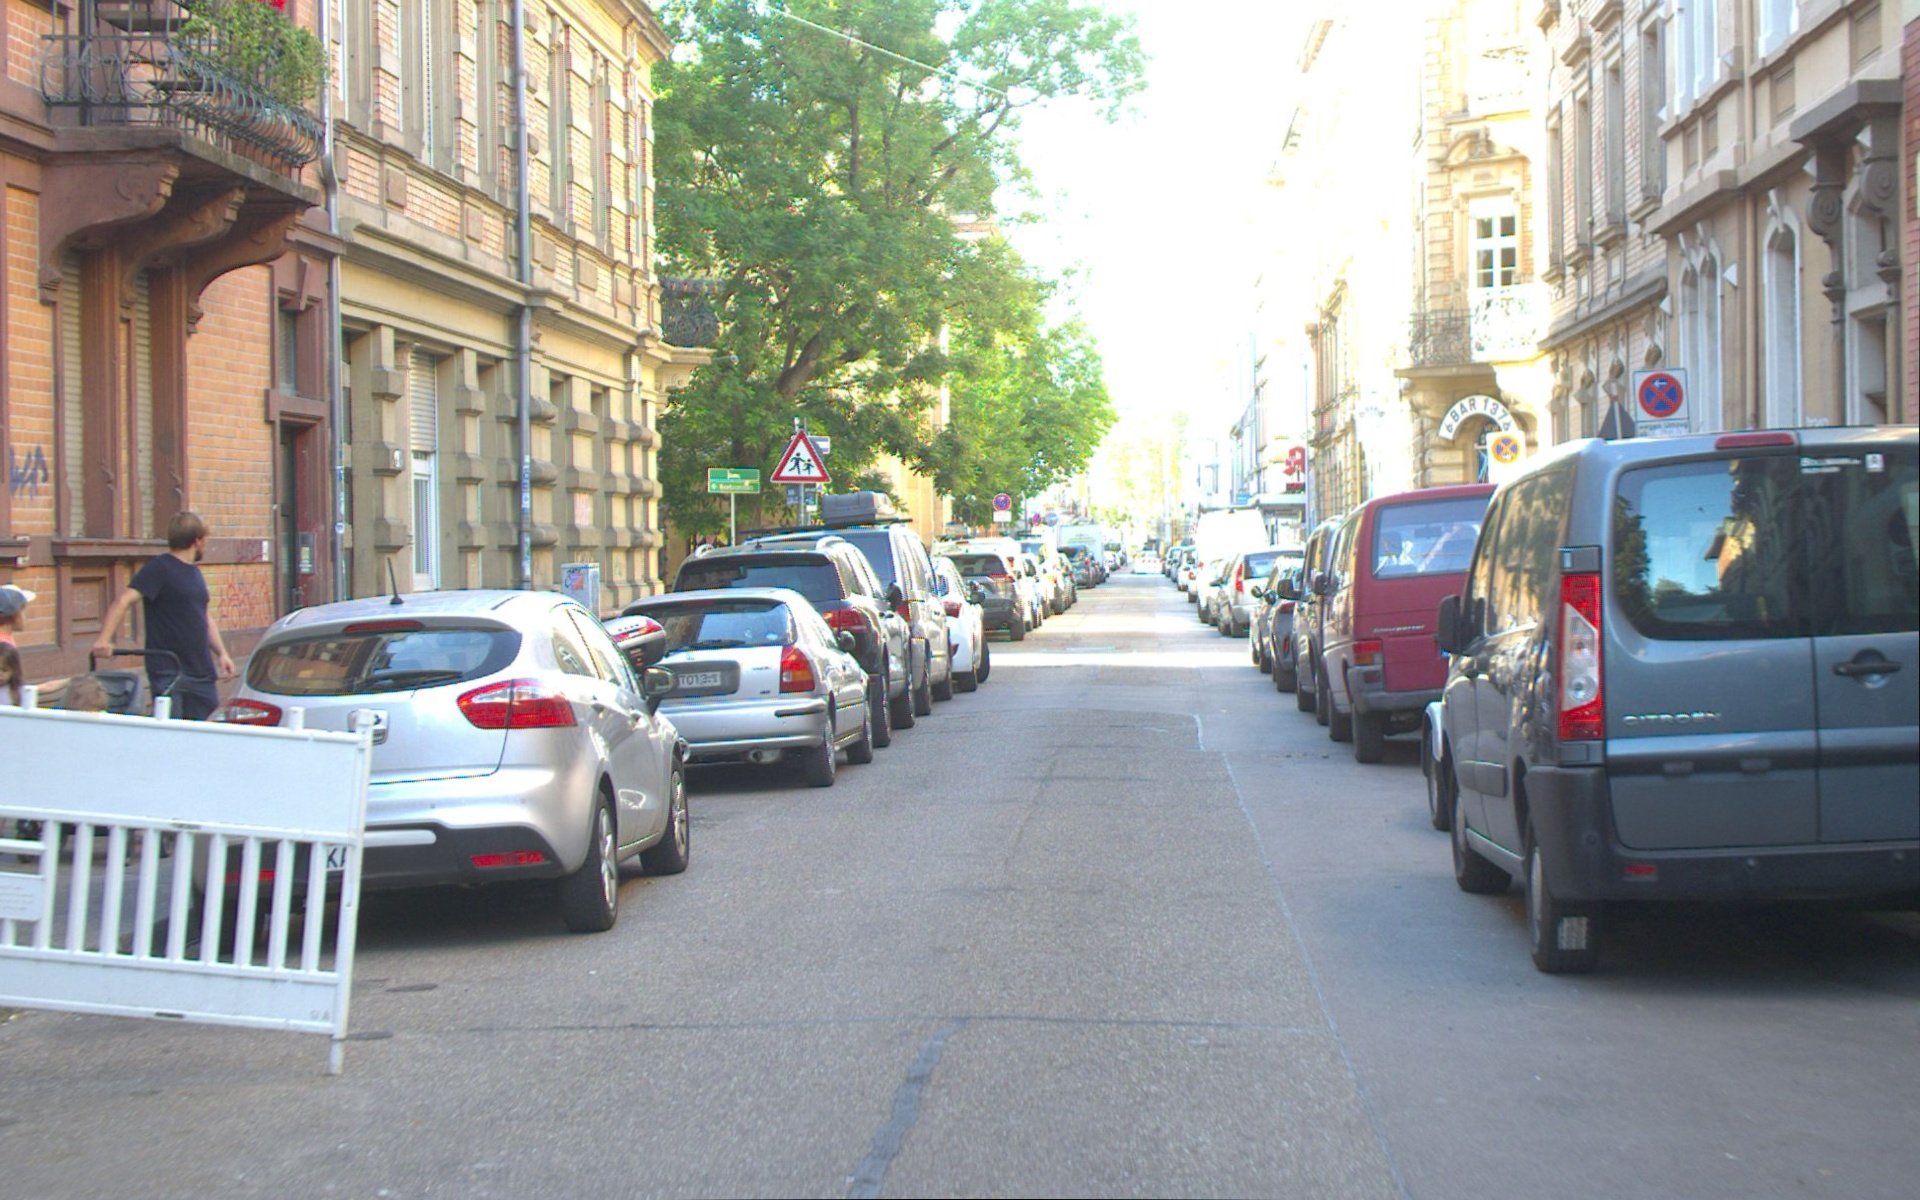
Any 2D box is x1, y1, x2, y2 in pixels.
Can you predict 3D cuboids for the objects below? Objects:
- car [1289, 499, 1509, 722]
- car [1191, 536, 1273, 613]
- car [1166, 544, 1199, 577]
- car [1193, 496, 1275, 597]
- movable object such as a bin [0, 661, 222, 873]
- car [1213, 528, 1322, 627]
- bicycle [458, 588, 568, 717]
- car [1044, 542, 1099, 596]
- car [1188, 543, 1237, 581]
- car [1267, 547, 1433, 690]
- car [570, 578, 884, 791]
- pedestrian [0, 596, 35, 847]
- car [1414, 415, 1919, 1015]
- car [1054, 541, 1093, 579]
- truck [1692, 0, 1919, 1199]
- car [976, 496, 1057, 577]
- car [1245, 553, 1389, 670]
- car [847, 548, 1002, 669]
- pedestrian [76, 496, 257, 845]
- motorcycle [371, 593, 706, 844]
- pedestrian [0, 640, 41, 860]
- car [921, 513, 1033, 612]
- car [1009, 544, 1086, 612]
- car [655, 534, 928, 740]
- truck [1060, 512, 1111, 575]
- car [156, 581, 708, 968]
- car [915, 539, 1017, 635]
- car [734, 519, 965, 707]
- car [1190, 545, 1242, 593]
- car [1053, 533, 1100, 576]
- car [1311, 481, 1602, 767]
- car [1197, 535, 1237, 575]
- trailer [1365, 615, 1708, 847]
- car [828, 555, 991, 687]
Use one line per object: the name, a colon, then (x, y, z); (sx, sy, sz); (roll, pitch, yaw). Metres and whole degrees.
car: (4.054, 0.053, 32.296); (1.770, 1.954, 4.264); (0, 1, 4)
car: (6.166, -0.579, 78.254); (1.808, 1.684, 4.214); (1, 1, 4)
car: (13.854, -2.460, 213.782); (1.994, 2.007, 4.000); (-1, 1, 4)
car: (7.387, -1.463, 93.091); (2.068, 2.602, 5.887); (-1, 1, 3)
movable object such as a bin: (-4.150, 0.795, 16.797); (0.761, 0.929, 1.415); (-1, 1, 0)
car: (5.664, -0.444, 63.763); (1.703, 1.708, 3.938); (-2, 1, 1)
bicycle: (-4.184, 0.479, 32.299); (0.667, 1.121, 1.785); (1, 1, 4)
car: (3.609, -1.001, 110.597); (1.600, 1.608, 3.808); (-4, 1, 3)
car: (10.118, -1.532, 137.781); (1.898, 1.483, 3.869); (-1, 1, 4)
car: (4.409, 0.169, 39.320); (1.667, 1.474, 3.887); (-1, 1, 4)
car: (-1.572, 0.537, 24.467); (1.699, 1.309, 4.000); (2, 1, 3)
pedestrian: (-5.147, 0.637, 18.168); (0.393, 1.302, 0.432); (-1, 1, -2)
car: (2.936, 0.344, 13.714); (1.845, 1.977, 4.576); (1, 1, 3)
car: (5.649, -2.007, 171.514); (1.875, 1.790, 4.000); (-1, 1, 1)
truck: (2.560, 0.154, 3.485); (2.148, 2.648, 6.253); (-5, 1, 1)
car: (1.507, -1.641, 89.501); (1.864, 1.950, 4.610); (-3, 1, 3)
car: (4.675, 0.110, 45.491); (1.706, 1.454, 4.511); (0, 1, 4)
car: (-0.413, 0.075, 44.467); (1.723, 1.476, 4.089); (0, 1, 4)
pedestrian: (-4.131, 0.353, 17.948); (0.685, 1.759, 0.887); (-1, 1, 0)
motorcycle: (-2.520, 0.698, 20.321); (0.842, 1.355, 2.196); (-4, 1, -39)
pedestrian: (-4.878, 0.750, 17.298); (0.393, 1.083, 0.432); (-1, 1, -2)
car: (0.372, -0.768, 67.931); (1.846, 1.856, 4.464); (-1, 1, 4)
car: (2.163, -0.559, 84.000); (1.742, 1.581, 3.868); (-1, 1, 3)
car: (-1.351, 0.257, 29.421); (1.788, 1.619, 4.607); (0, 1, 4)
truck: (6.918, -3.094, 188.096); (2.532, 3.270, 6.994); (-1, 1, 4)
car: (-2.244, 0.685, 15.643); (1.674, 1.414, 4.000); (-3, 1, 3)
car: (0.144, -0.265, 62.257); (1.740, 1.641, 4.289); (-2, 1, 1)
car: (-1.049, 0.085, 34.893); (1.893, 1.778, 4.607); (0, 1, 4)
car: (8.129, -1.001, 108.885); (1.604, 1.499, 4.000); (0, 1, 5)
car: (5.085, -1.975, 149.727); (1.876, 1.790, 4.000); (-1, 1, 4)
car: (3.734, 0.124, 26.572); (1.832, 2.007, 4.741); (0, 1, 4)
car: (11.824, -2.077, 158.241); (1.769, 1.735, 4.000); (-1, 1, 4)
trailer: (3.244, 0.703, 19.810); (1.505, 1.109, 3.039); (2, 1, 2)
car: (-0.530, 0.203, 39.248); (1.674, 1.416, 3.874); (0, 1, 2)
